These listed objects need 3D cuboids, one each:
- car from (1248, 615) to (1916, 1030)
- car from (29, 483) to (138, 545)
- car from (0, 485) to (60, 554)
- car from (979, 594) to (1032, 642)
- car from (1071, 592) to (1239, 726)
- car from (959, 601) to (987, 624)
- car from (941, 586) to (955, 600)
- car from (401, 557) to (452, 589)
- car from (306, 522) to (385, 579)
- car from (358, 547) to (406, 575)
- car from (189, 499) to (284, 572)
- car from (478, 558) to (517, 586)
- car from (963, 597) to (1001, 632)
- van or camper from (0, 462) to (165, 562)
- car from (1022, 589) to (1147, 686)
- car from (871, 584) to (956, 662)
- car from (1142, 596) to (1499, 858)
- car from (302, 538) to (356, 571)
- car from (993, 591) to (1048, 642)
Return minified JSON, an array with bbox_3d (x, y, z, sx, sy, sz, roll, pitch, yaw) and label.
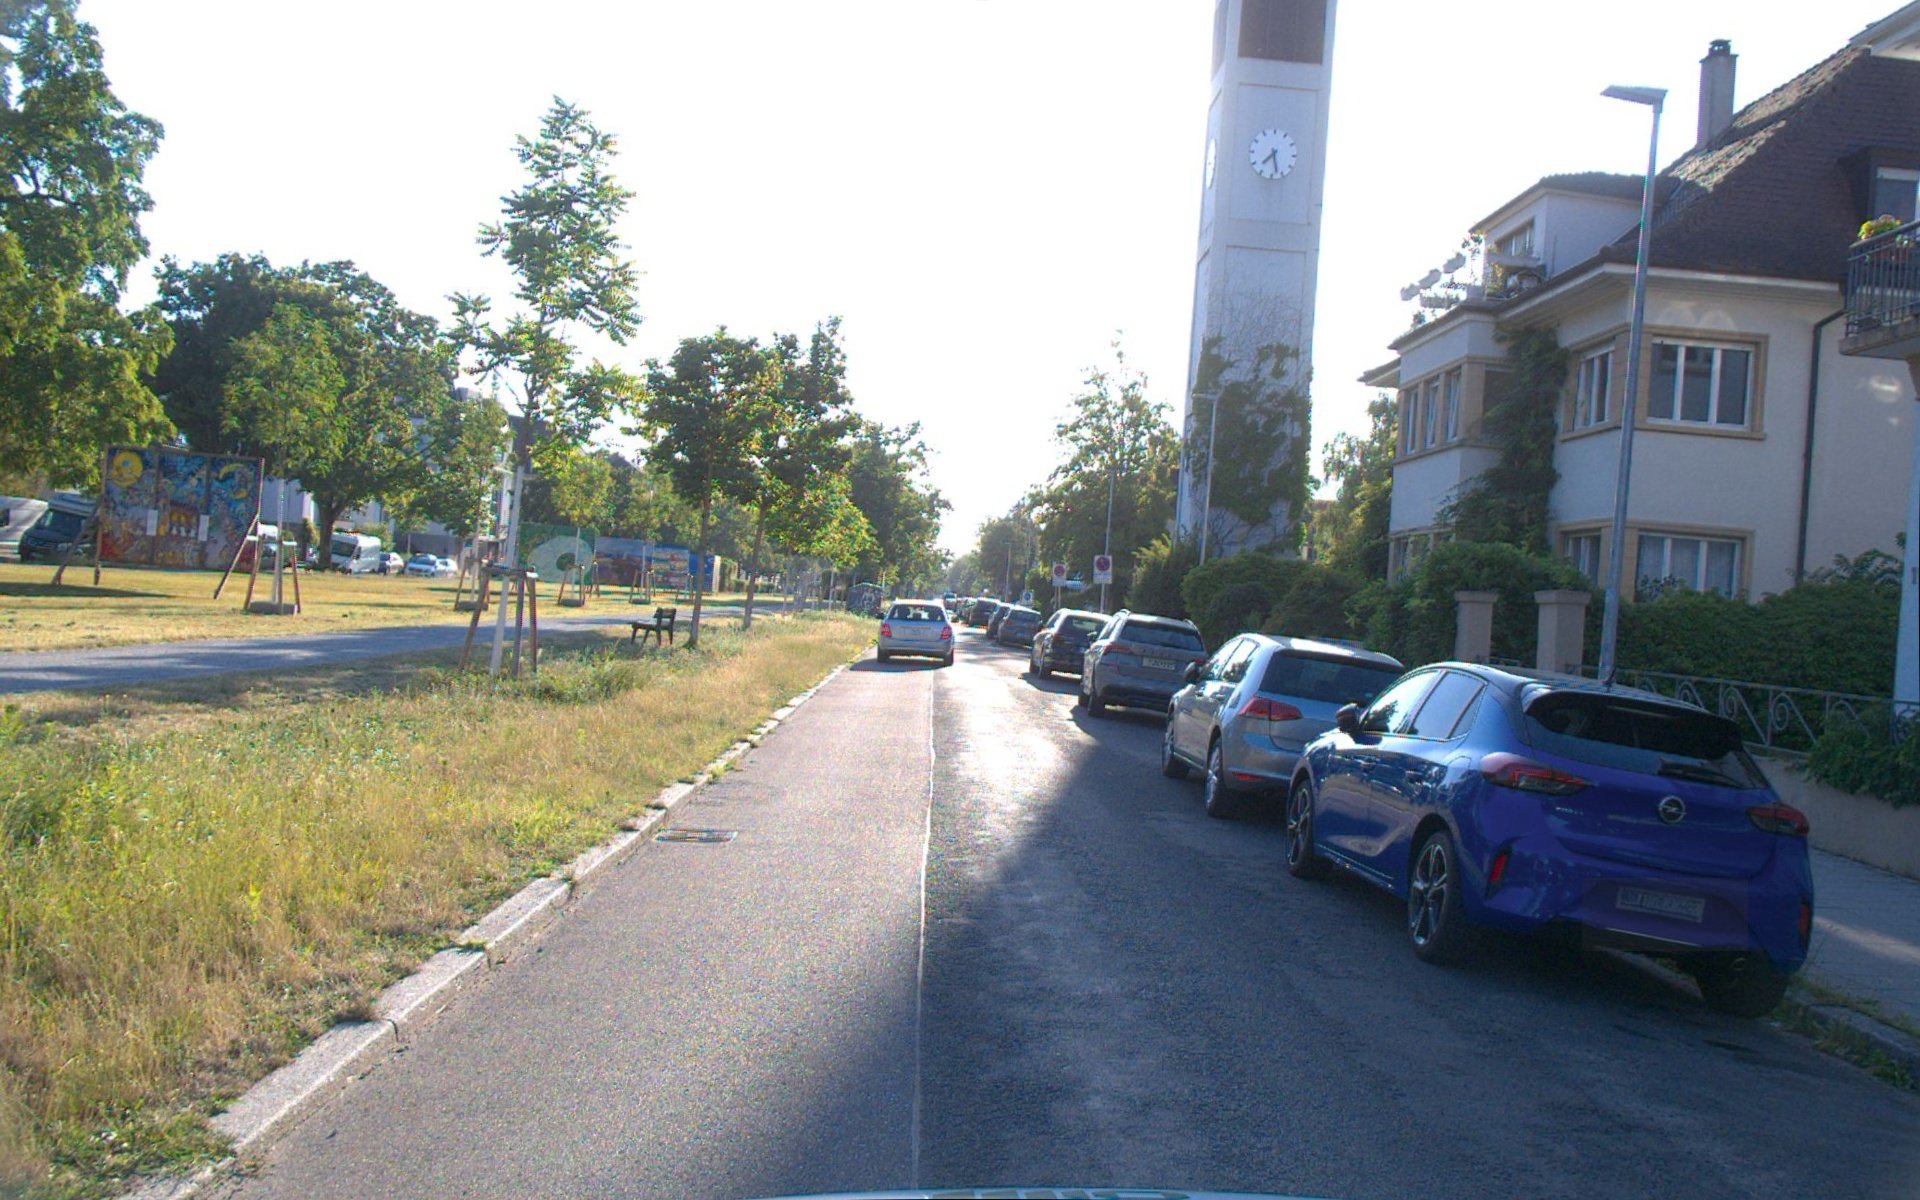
[{"bbox_3d":[3.041,0.978,9.198,1.730,1.458,4.301,11,-1,-2],"label":"car"},{"bbox_3d":[-34.029,-3.323,64.340,1.953,2.048,4.000,5,0,0],"label":"car"},{"bbox_3d":[-40.407,-3.408,69.441,1.953,2.643,6.088,1,-1,-1],"label":"car"},{"bbox_3d":[1.853,0.709,68.118,1.788,1.586,4.621,11,0,0],"label":"car"},{"bbox_3d":[2.815,0.855,24.836,1.846,1.562,4.461,8,-1,1],"label":"car"},{"bbox_3d":[0.981,0.949,124.257,1.954,1.487,4.561,7,0,0],"label":"car"},{"bbox_3d":[-1.902,-1.058,252.952,1.949,2.058,3.999,5,0,0],"label":"car"},{"bbox_3d":[-35.051,-1.755,108.783,1.796,1.932,4.642,1,-1,0],"label":"car"},{"bbox_3d":[-34.551,-2.715,93.179,2.214,2.875,5.870,1,-1,-1],"label":"car"},{"bbox_3d":[-40.910,-2.717,117.185,1.745,1.732,4.665,1,-1,-1],"label":"car"},{"bbox_3d":[-40.217,-3.501,92.174,2.256,3.621,6.763,1,-1,-1],"label":"car"},{"bbox_3d":[-35.476,-2.162,126.961,1.851,1.950,4.326,1,-1,-1],"label":"car"},{"bbox_3d":[1.254,0.838,96.521,1.797,1.761,5.030,7,-1,-1],"label":"car"},{"bbox_3d":[-34.029,-3.323,64.340,2.589,3.318,6.904,5,0,0],"label":"van or camper"},{"bbox_3d":[2.584,0.786,35.554,1.956,1.624,4.884,9,-1,-2],"label":"car"},{"bbox_3d":[-1.031,0.502,38.222,1.787,1.593,4.000,4,0,0],"label":"car"},{"bbox_3d":[2.914,0.934,14.484,1.875,1.585,4.566,9,1,-1],"label":"car"},{"bbox_3d":[-40.733,-2.916,106.917,1.695,1.887,4.712,1,-1,-1],"label":"car"},{"bbox_3d":[2.198,0.591,61.180,1.655,1.553,4.174,9,1,-1],"label":"car"}]
